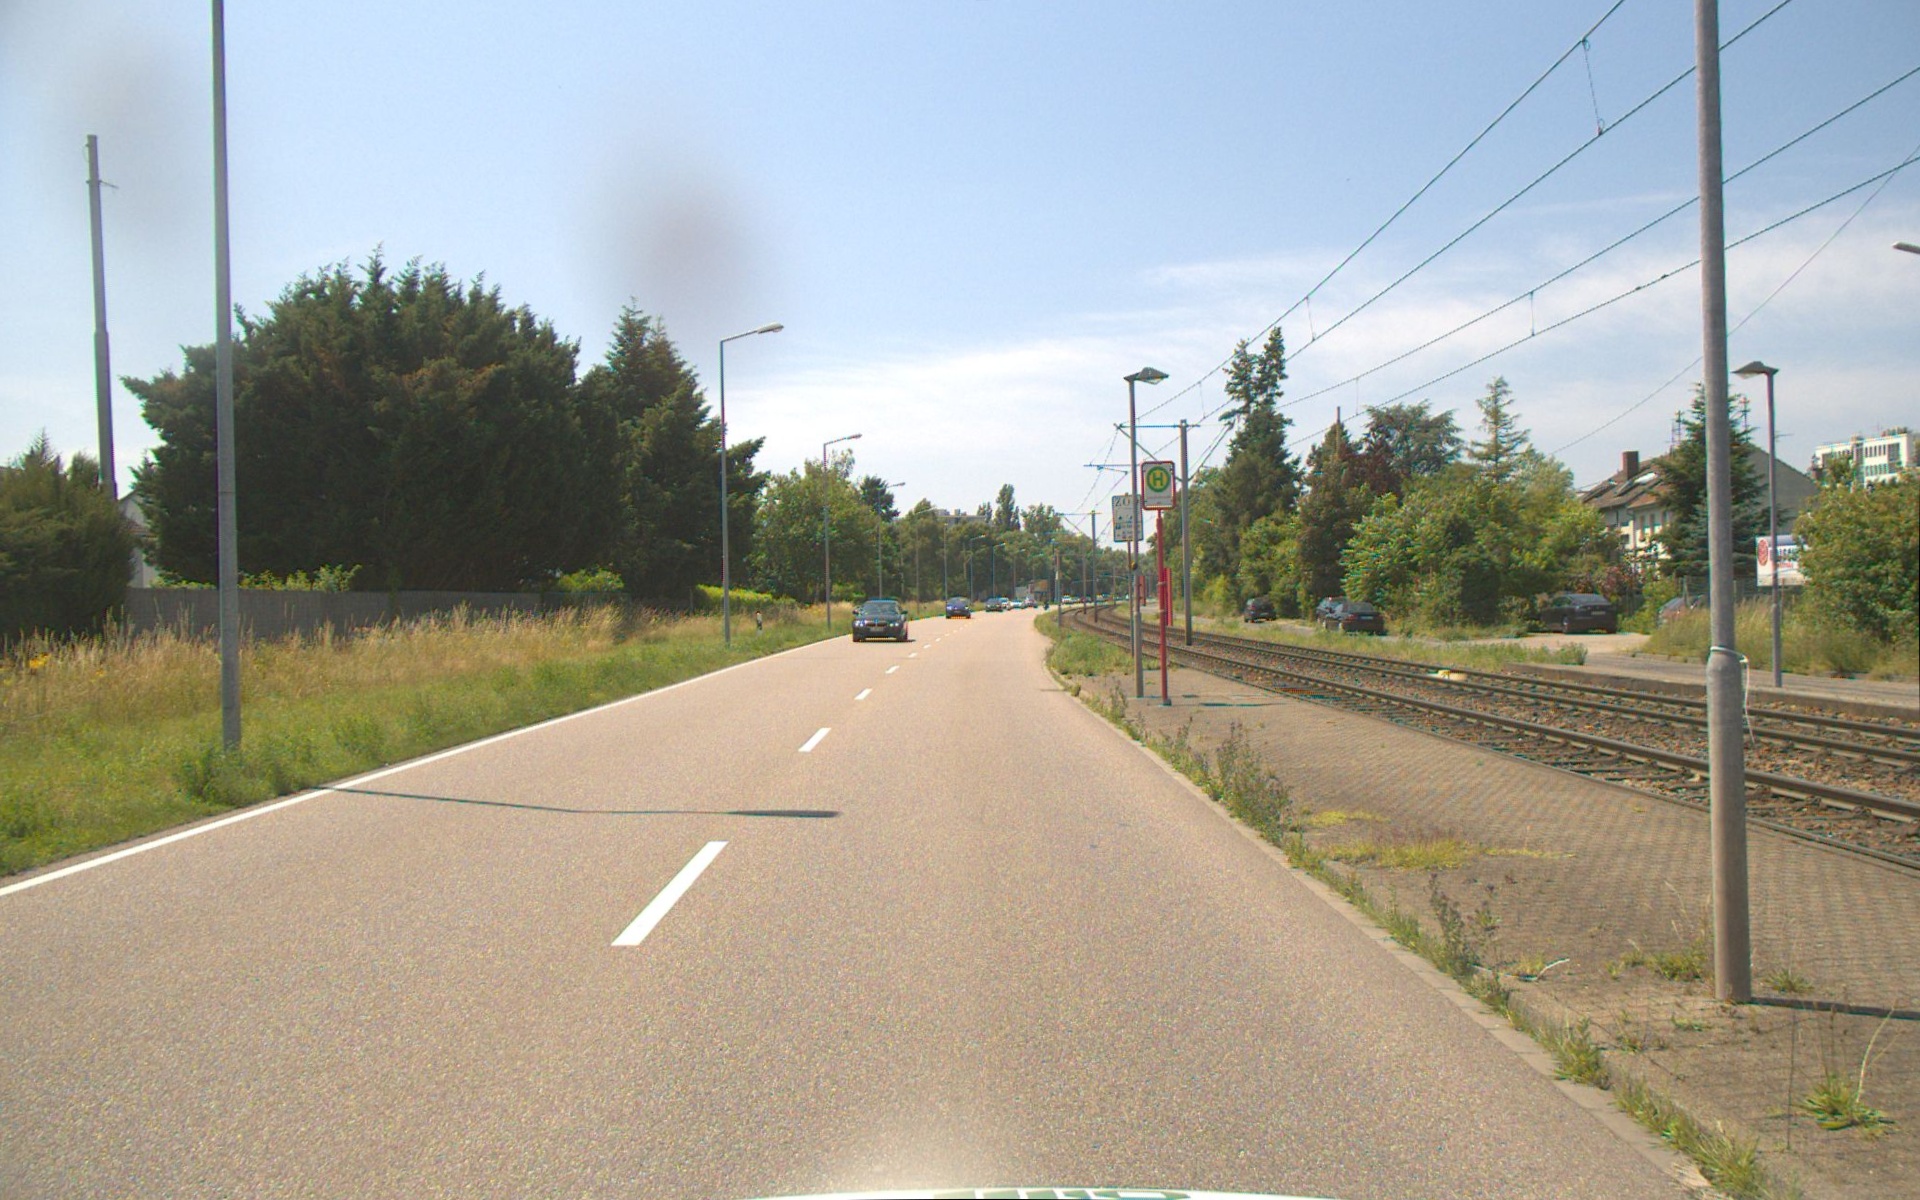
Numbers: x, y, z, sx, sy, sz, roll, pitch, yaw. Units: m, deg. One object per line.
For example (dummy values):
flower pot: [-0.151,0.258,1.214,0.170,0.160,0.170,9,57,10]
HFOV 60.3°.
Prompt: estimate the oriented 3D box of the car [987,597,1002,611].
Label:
car: [3.905,0.466,186.746,1.665,1.517,4.441,0,0,2]

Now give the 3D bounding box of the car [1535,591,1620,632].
car: [22.583,0.406,60.633,1.685,1.444,3.739,0,0,0]

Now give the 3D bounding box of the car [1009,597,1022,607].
car: [7.478,0.280,222.618,1.647,1.271,3.910,0,0,3]

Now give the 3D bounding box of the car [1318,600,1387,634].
car: [16.503,0.708,69.709,1.823,1.353,4.514,0,0,0]

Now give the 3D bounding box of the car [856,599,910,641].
car: [-2.756,0.707,59.994,1.671,1.429,4.708,0,0,1]

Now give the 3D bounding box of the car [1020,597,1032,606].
car: [9.601,0.208,242.035,1.712,1.324,4.255,0,0,3]

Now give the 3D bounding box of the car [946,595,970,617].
car: [-0.150,0.483,129.529,1.711,1.660,4.030,0,0,1]

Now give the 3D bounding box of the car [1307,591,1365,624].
car: [18.811,0.373,82.939,1.895,1.588,4.556,0,0,0]

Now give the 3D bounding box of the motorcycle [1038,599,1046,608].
motorcycle: [10.864,0.432,219.066,0.949,1.137,2.734,0,0,7]

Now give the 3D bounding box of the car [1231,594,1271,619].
car: [18.051,0.402,102.750,1.874,1.496,4.001,0,0,2]

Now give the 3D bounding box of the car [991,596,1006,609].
car: [4.758,0.324,203.129,1.710,1.529,3.708,0,0,2]
